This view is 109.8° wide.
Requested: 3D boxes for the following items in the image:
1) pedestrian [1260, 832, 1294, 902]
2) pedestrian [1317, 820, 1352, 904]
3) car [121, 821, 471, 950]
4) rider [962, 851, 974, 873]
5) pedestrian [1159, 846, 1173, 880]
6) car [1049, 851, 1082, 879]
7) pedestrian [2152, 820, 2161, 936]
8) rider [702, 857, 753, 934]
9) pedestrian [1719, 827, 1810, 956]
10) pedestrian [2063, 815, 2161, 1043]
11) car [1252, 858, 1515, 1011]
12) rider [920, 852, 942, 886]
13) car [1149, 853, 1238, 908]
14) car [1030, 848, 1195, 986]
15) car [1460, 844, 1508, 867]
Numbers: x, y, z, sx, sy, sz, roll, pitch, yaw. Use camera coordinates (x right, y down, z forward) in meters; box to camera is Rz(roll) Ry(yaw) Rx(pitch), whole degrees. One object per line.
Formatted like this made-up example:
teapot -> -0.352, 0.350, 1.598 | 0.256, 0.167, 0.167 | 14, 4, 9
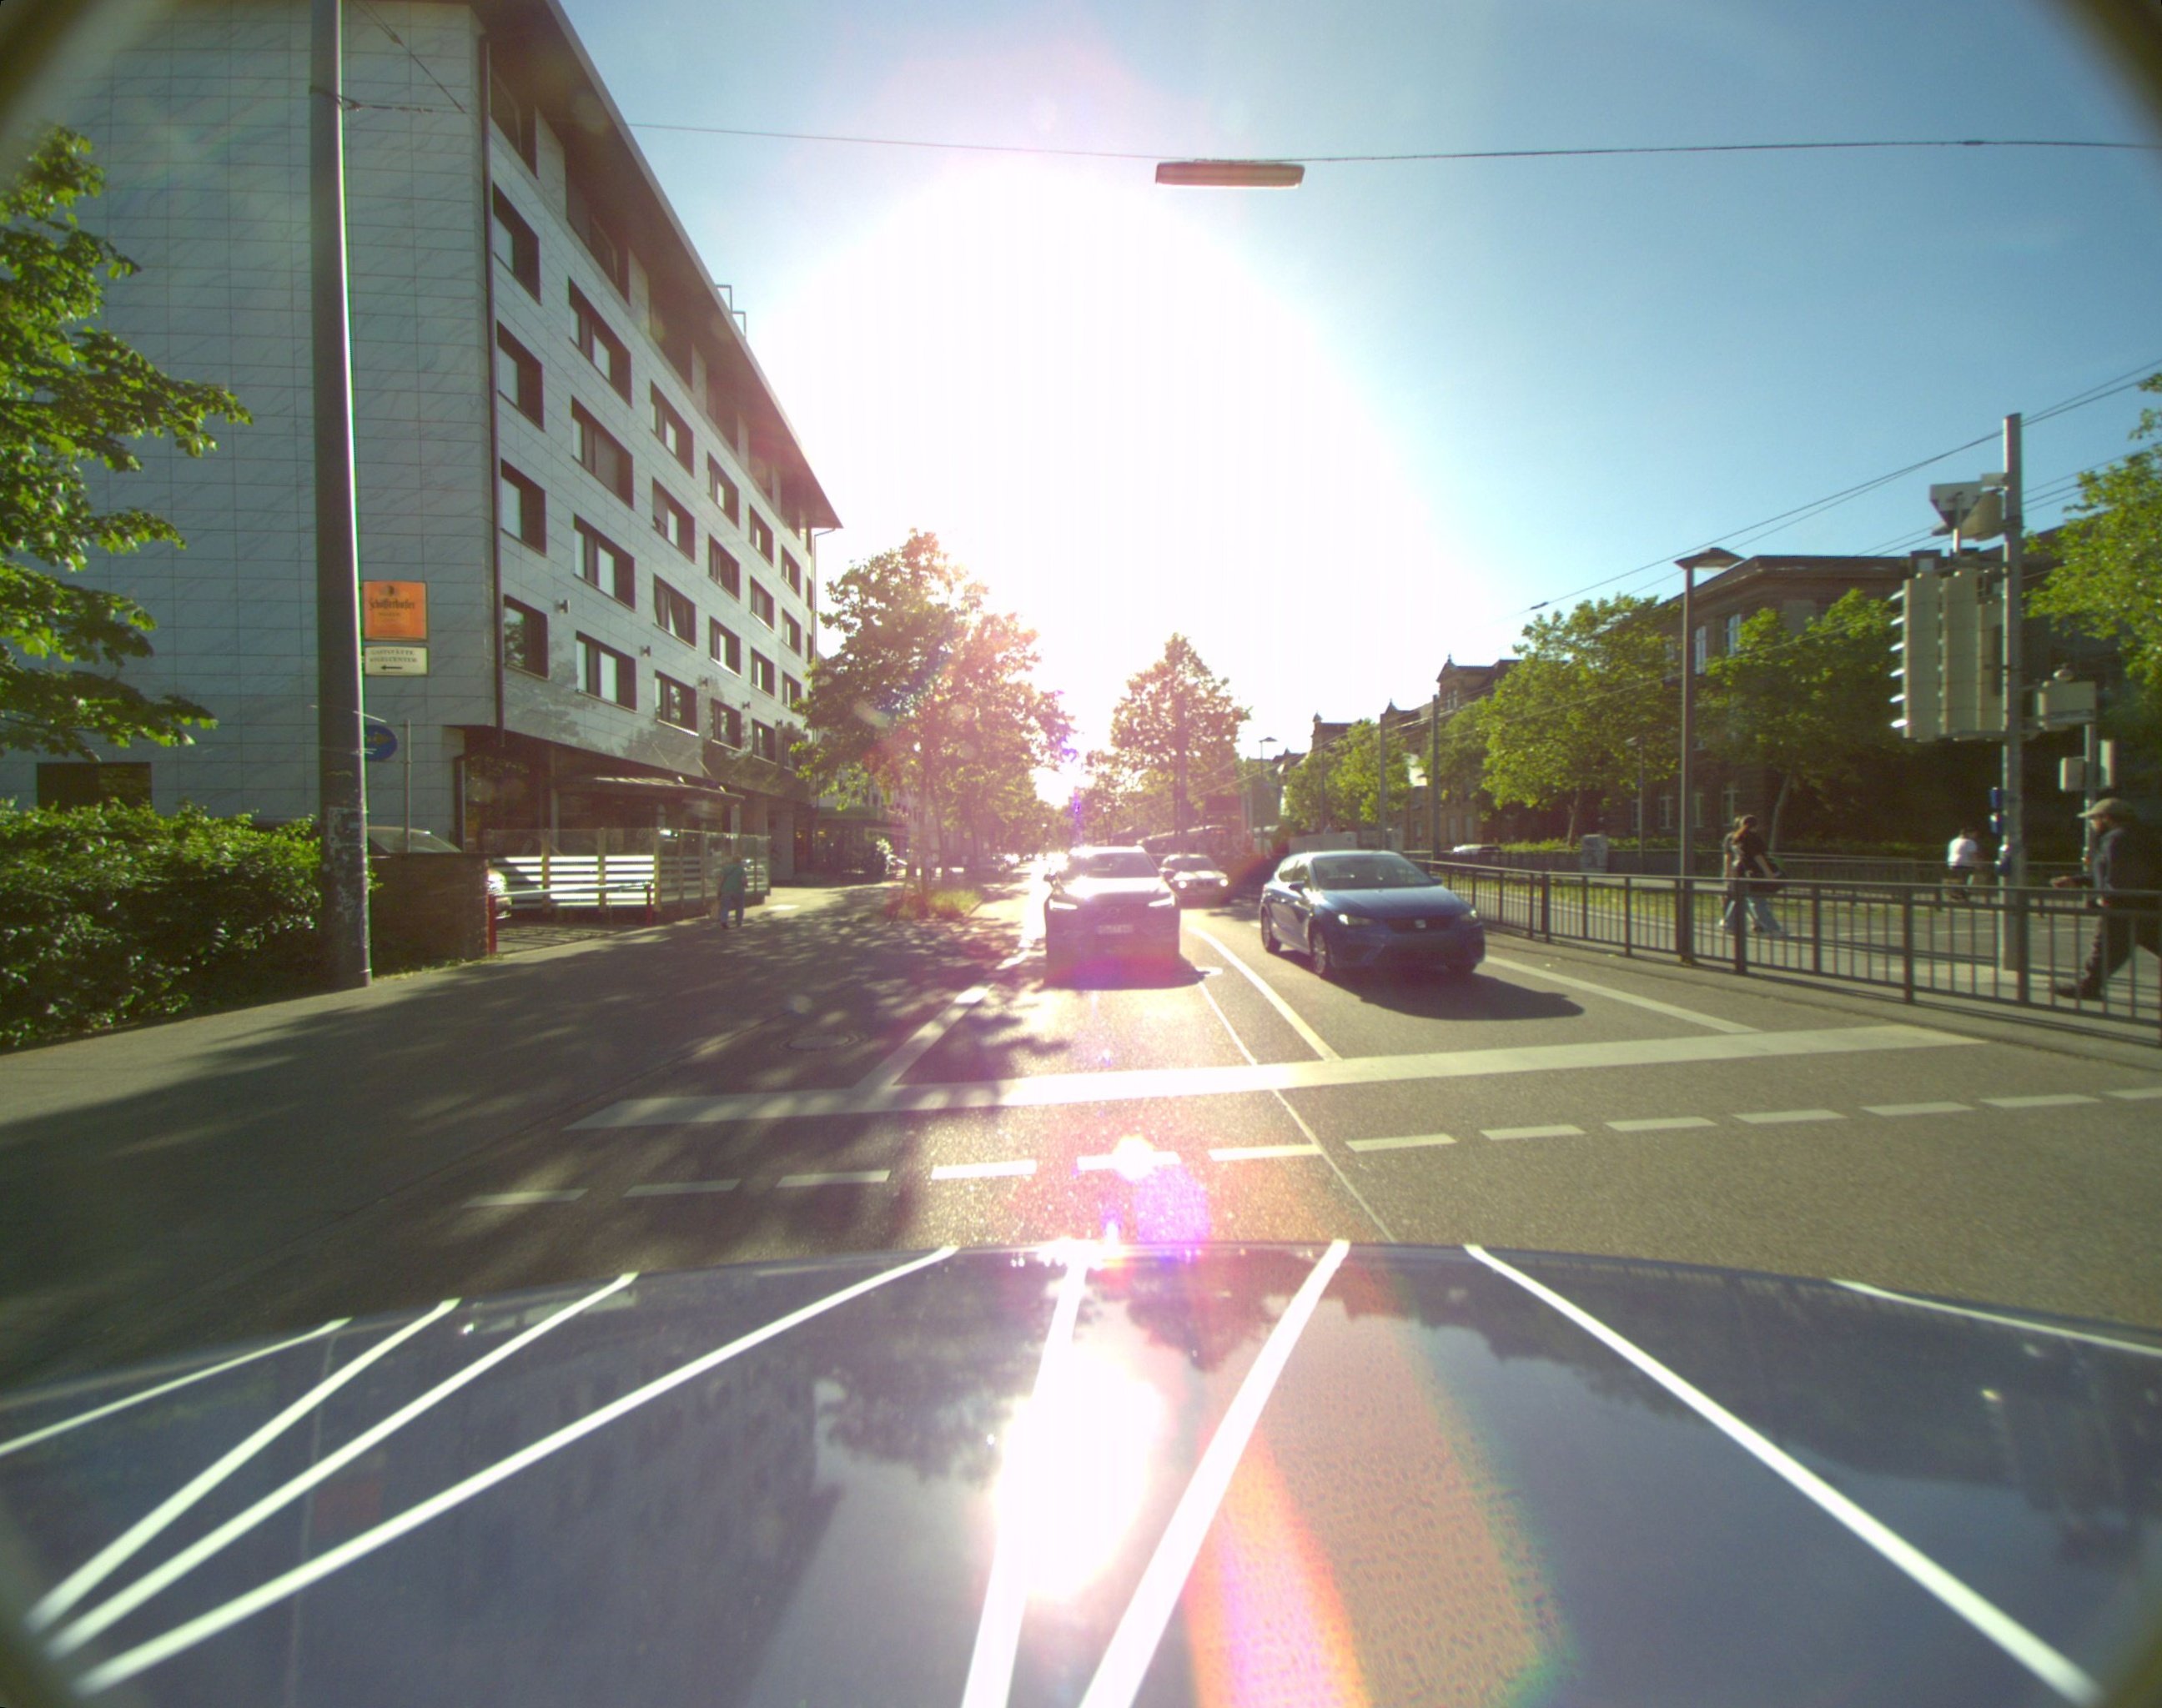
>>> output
pedestrian -> 5.766, 0.360, 22.391 | 0.711, 2.002, 0.786 | -2, 1, -3
pedestrian -> 6.730, 0.218, 20.216 | 0.785, 2.175, 0.801 | -2, 1, 16
car -> -13.826, 0.536, 13.647 | 3.999, 2.086, 1.999 | 1, 1, -6
rider -> -8.758, 0.616, 58.792 | 0.759, 1.717, 0.894 | -2, 1, -5
pedestrian -> 5.287, 0.561, 47.131 | 0.715, 2.103, 0.787 | -2, 1, 1
car -> -0.926, 0.666, 47.482 | 1.775, 1.567, 3.822 | -2, 1, 1
pedestrian -> 16.591, 0.353, 11.329 | 0.595, 1.735, 0.698 | -3, 1, -37
rider -> -7.461, 0.853, 16.056 | 0.779, 1.582, 0.789 | 0, 1, -7
pedestrian -> 9.161, 0.488, 10.210 | 0.545, 1.652, 0.729 | -2, 1, 1
pedestrian -> 8.166, 0.536, 5.756 | 0.580, 1.652, 0.666 | -2, 1, 5
car -> 3.482, 0.826, 9.577 | 1.778, 1.440, 3.869 | -2, 0, 1
rider -> -7.626, 0.762, 38.720 | 0.925, 1.668, 0.977 | -2, 1, -3
car -> 3.290, 0.726, 22.988 | 1.799, 1.420, 3.998 | -2, 1, -4
car -> 0.229, 0.773, 12.149 | 1.950, 1.690, 5.303 | -1, 0, -5
car -> 22.203, 0.072, 41.943 | 1.182, 1.190, 2.457 | -2, 1, -3
